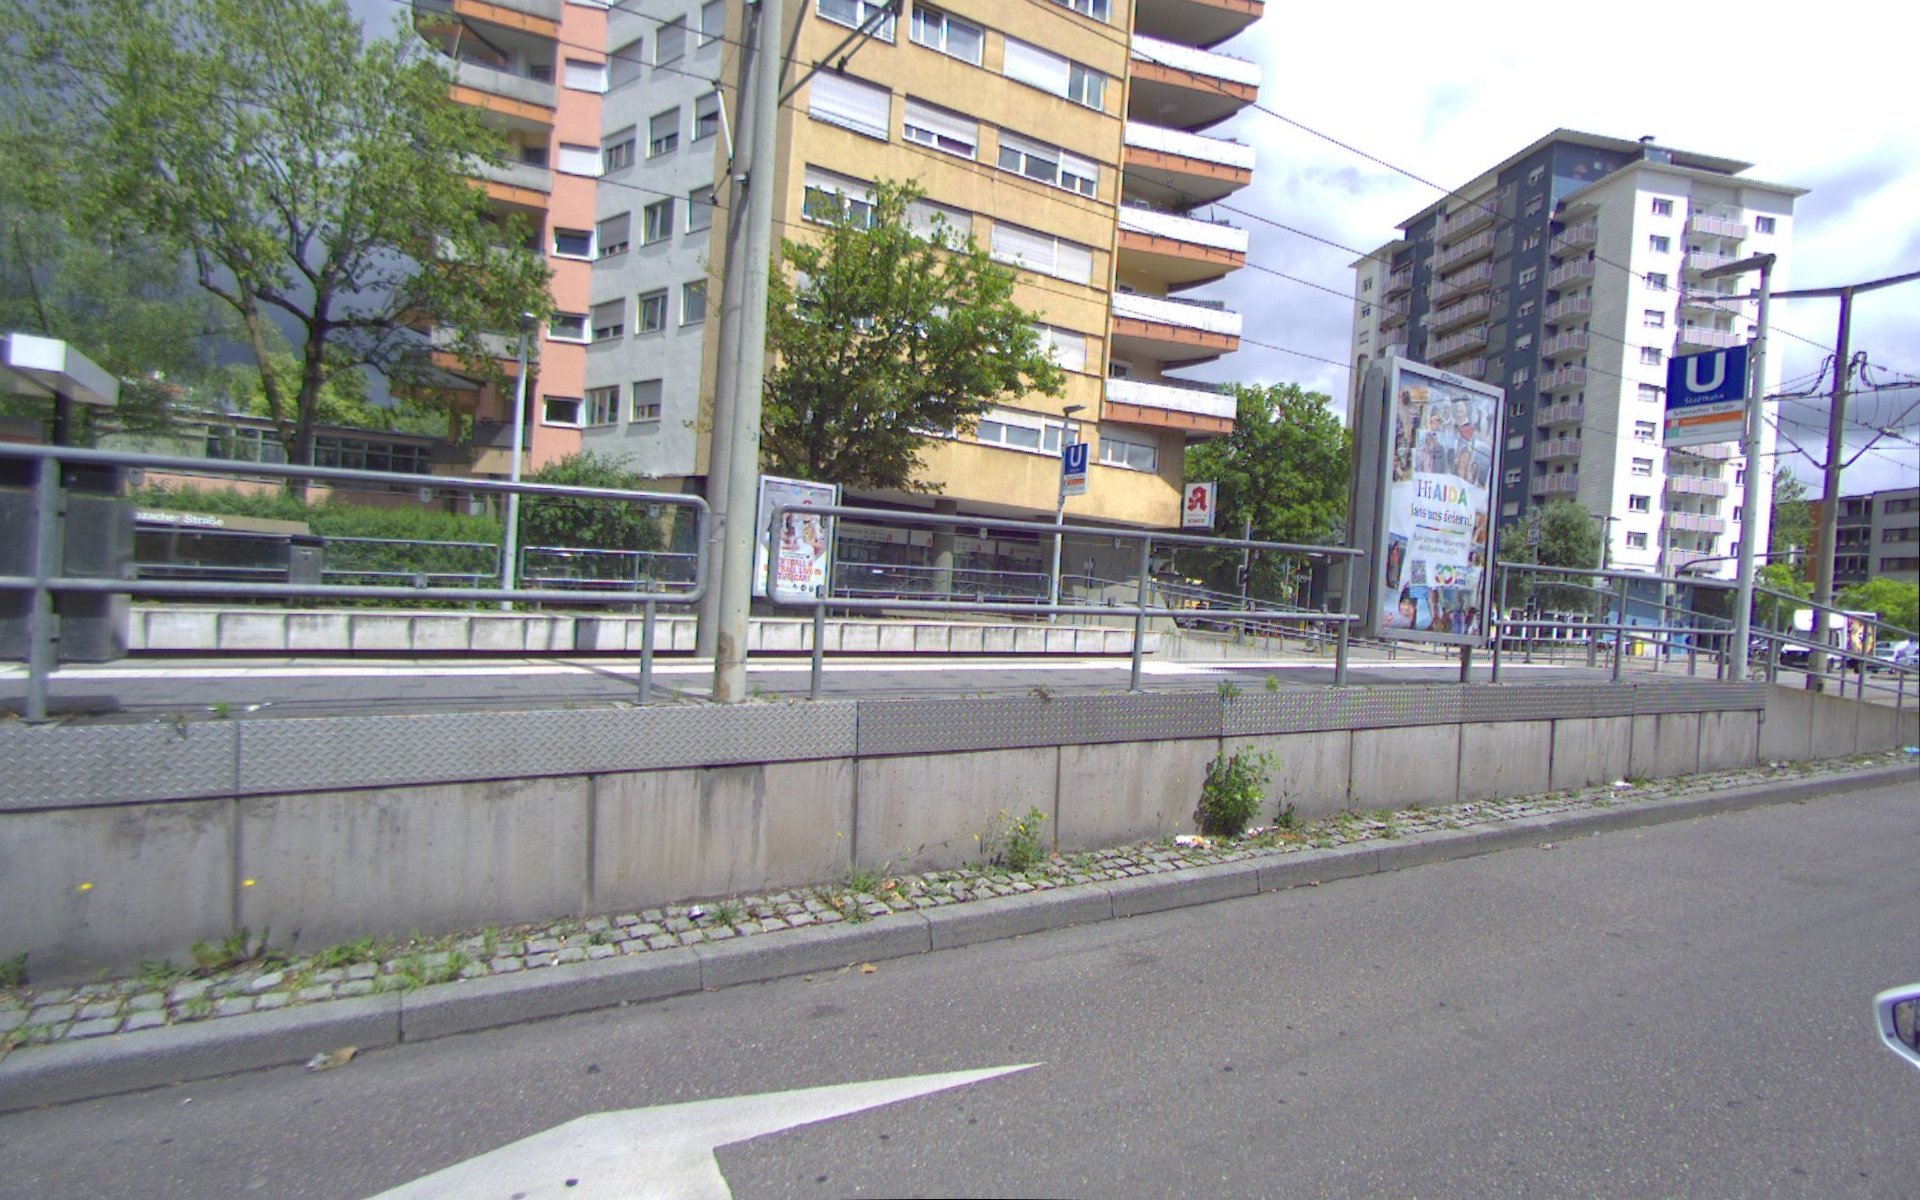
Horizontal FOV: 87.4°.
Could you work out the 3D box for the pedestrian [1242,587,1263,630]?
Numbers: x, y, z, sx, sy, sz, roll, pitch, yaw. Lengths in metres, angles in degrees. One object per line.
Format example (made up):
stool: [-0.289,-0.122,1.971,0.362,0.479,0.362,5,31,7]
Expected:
pedestrian: [12.388,0.372,42.559,0.649,1.799,0.658,2,0,-1]

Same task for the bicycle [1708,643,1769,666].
bicycle: [42.557,2.959,54.979,2.521,1.022,0.754,4,0,33]

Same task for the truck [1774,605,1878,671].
truck: [45.046,2.002,52.186,7.244,3.159,2.267,2,0,-34]

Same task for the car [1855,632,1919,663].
car: [64.330,3.267,68.974,3.846,2.001,1.657,2,0,18]

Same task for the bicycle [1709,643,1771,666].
bicycle: [42.077,2.942,54.207,2.521,1.022,0.754,4,0,33]

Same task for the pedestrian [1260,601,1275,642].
pedestrian: [15.818,1.101,51.674,0.531,2.040,0.560,2,0,34]

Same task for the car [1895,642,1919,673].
car: [58.054,3.481,60.506,3.732,1.780,1.583,2,0,-31]

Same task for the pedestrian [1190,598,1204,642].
pedestrian: [11.148,0.938,47.255,0.529,2.040,0.562,2,0,20]

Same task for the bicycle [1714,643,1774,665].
bicycle: [43.417,2.989,55.671,2.521,1.022,0.754,4,0,33]

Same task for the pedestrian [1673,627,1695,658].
pedestrian: [49.493,2.896,68.653,0.832,2.040,0.860,2,0,-12]

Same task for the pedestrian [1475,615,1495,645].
pedestrian: [36.073,2.035,68.986,0.831,2.040,0.861,2,0,-2]

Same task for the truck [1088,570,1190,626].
truck: [7.983,-0.109,45.241,2.323,2.320,4.260,2,0,-29]

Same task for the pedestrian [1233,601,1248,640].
pedestrian: [14.935,1.083,53.517,0.533,2.040,0.558,2,0,45]

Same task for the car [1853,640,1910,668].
car: [52.181,3.050,56.868,3.733,1.480,1.399,2,0,-32]
